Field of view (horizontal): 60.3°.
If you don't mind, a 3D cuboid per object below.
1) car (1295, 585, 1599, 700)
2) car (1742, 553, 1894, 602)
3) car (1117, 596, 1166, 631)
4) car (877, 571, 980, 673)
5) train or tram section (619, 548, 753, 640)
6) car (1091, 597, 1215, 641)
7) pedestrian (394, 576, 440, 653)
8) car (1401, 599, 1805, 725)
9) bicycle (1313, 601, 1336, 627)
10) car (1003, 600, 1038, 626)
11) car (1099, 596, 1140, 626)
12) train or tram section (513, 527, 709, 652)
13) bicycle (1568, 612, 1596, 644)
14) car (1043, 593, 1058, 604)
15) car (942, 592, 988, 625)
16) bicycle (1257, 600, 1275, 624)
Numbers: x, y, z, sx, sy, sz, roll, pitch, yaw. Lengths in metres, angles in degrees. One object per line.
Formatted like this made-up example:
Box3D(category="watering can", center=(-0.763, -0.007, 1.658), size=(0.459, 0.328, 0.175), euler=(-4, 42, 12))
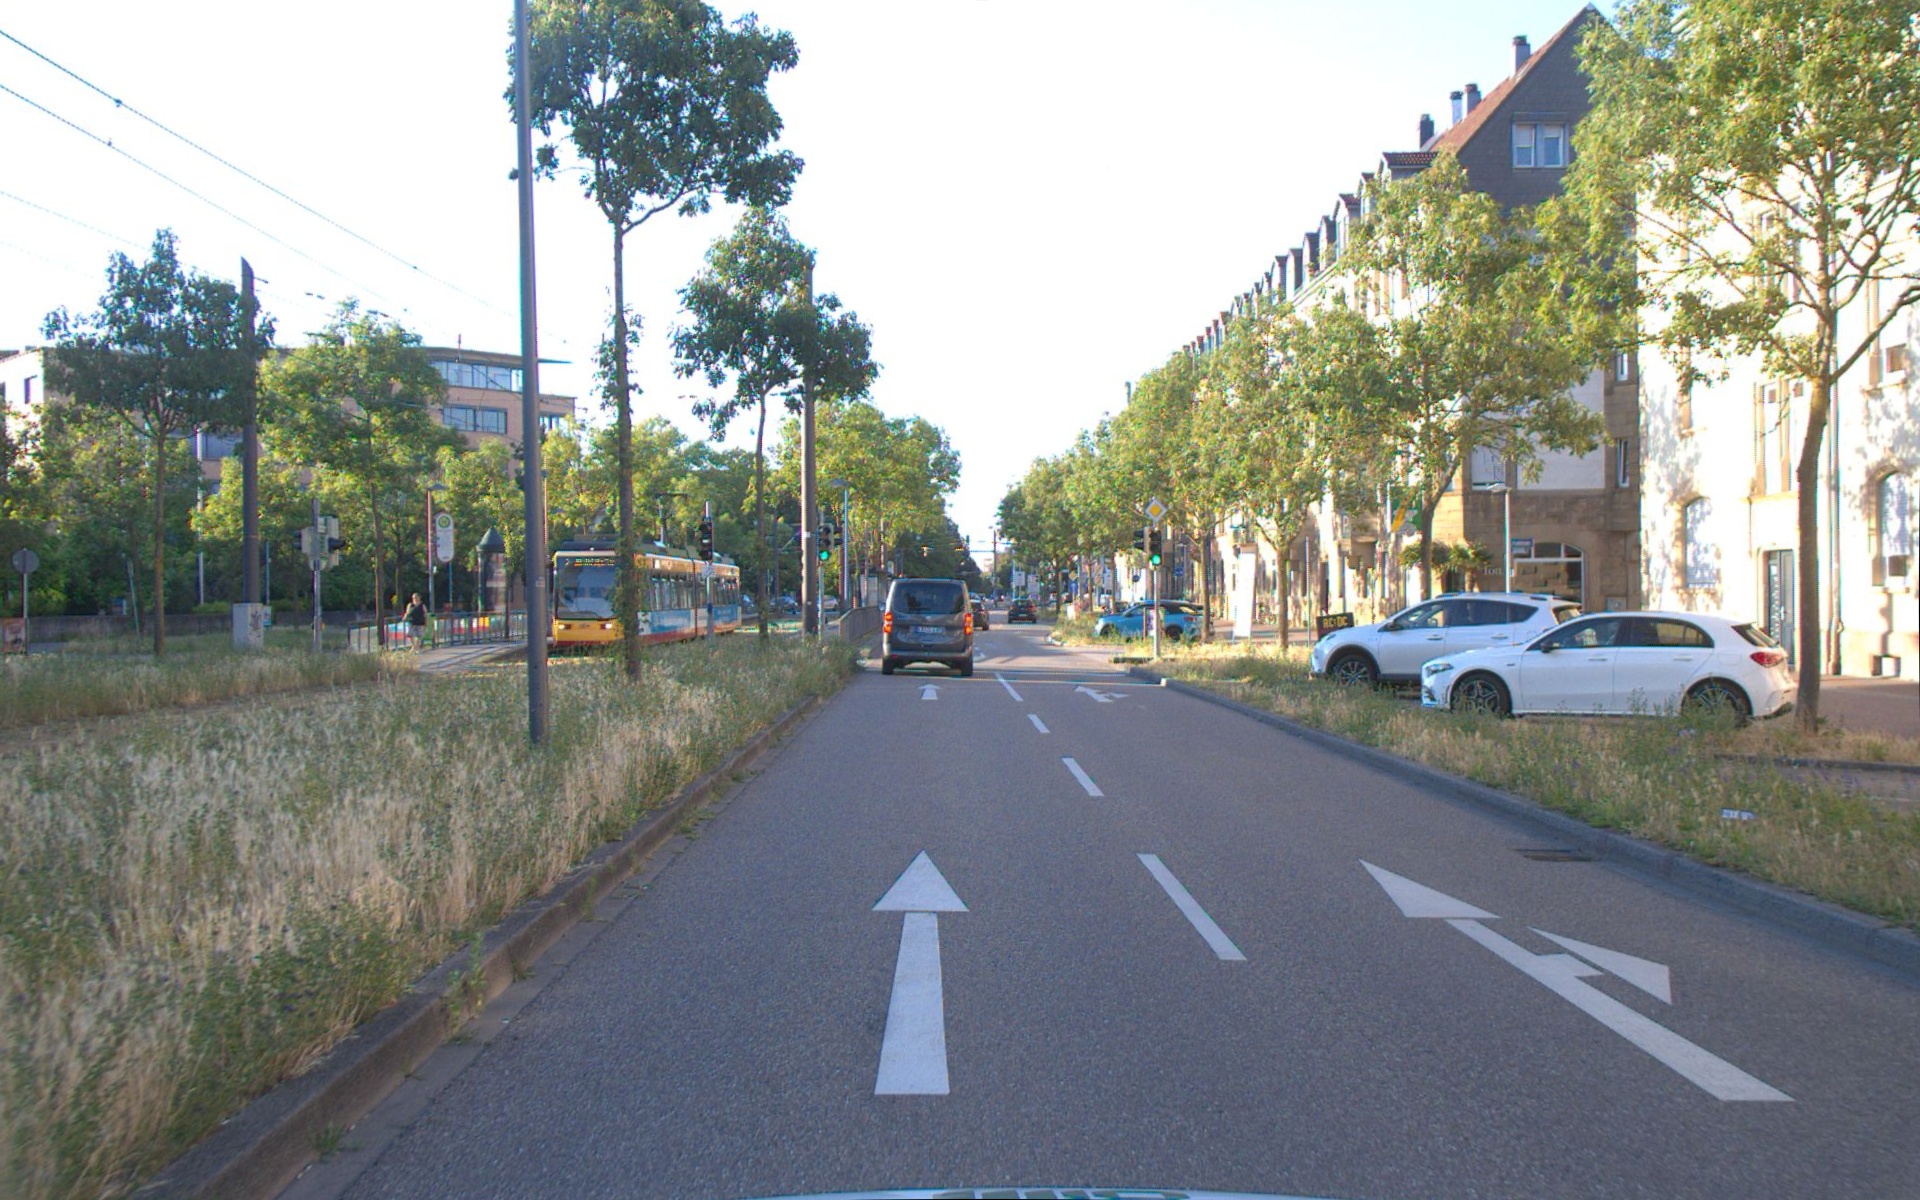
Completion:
Box3D(category="car", center=(7.795, 0.620, 26.628), size=(4.342, 1.721, 1.910), euler=(0, 0, 35))
Box3D(category="car", center=(27.839, -0.756, 53.771), size=(3.906, 1.491, 2.000), euler=(-1, 2, -2))
Box3D(category="car", center=(8.400, 0.608, 76.882), size=(1.691, 1.538, 4.271), euler=(2, 0, -1))
Box3D(category="car", center=(-0.605, 0.428, 34.147), size=(1.953, 1.934, 4.299), euler=(1, 0, 0))
Box3D(category="train or tram section", center=(-11.043, -0.215, 68.344), size=(3.361, 3.398, 13.855), euler=(0, 0, -1))
Box3D(category="car", center=(7.142, 0.687, 61.236), size=(4.196, 1.548, 1.842), euler=(0, 0, 32))
Box3D(category="pedestrian", center=(-14.597, 0.381, 44.450), size=(0.915, 2.049, 0.957), euler=(0, 0, -1))
Box3D(category="car", center=(7.985, 0.714, 20.609), size=(4.455, 1.424, 2.027), euler=(0, -1, 30))
Box3D(category="bicycle", center=(15.700, 0.593, 71.271), size=(0.560, 1.092, 1.896), euler=(-1, 0, -1))
Box3D(category="car", center=(3.673, 0.776, 101.022), size=(1.953, 1.537, 3.999), euler=(1, 0, -1))
Box3D(category="car", center=(8.304, 0.561, 86.346), size=(1.669, 1.474, 4.288), euler=(2, 0, 0))
Box3D(category="train or tram section", center=(-10.918, -0.295, 53.859), size=(3.361, 3.490, 15.025), euler=(0, 0, -1))
Box3D(category="bicycle", center=(20.123, 0.895, 53.509), size=(0.615, 0.964, 1.886), euler=(0, 1, 14))
Box3D(category="car", center=(14.157, -0.205, 258.311), size=(1.954, 1.685, 4.296), euler=(-1, 0, -3))
Box3D(category="car", center=(0.203, 0.405, 79.894), size=(1.954, 1.537, 3.997), euler=(1, 0, -3))
Box3D(category="bicycle", center=(15.479, 0.597, 83.560), size=(0.473, 1.185, 1.746), euler=(-5, 0, 0))
